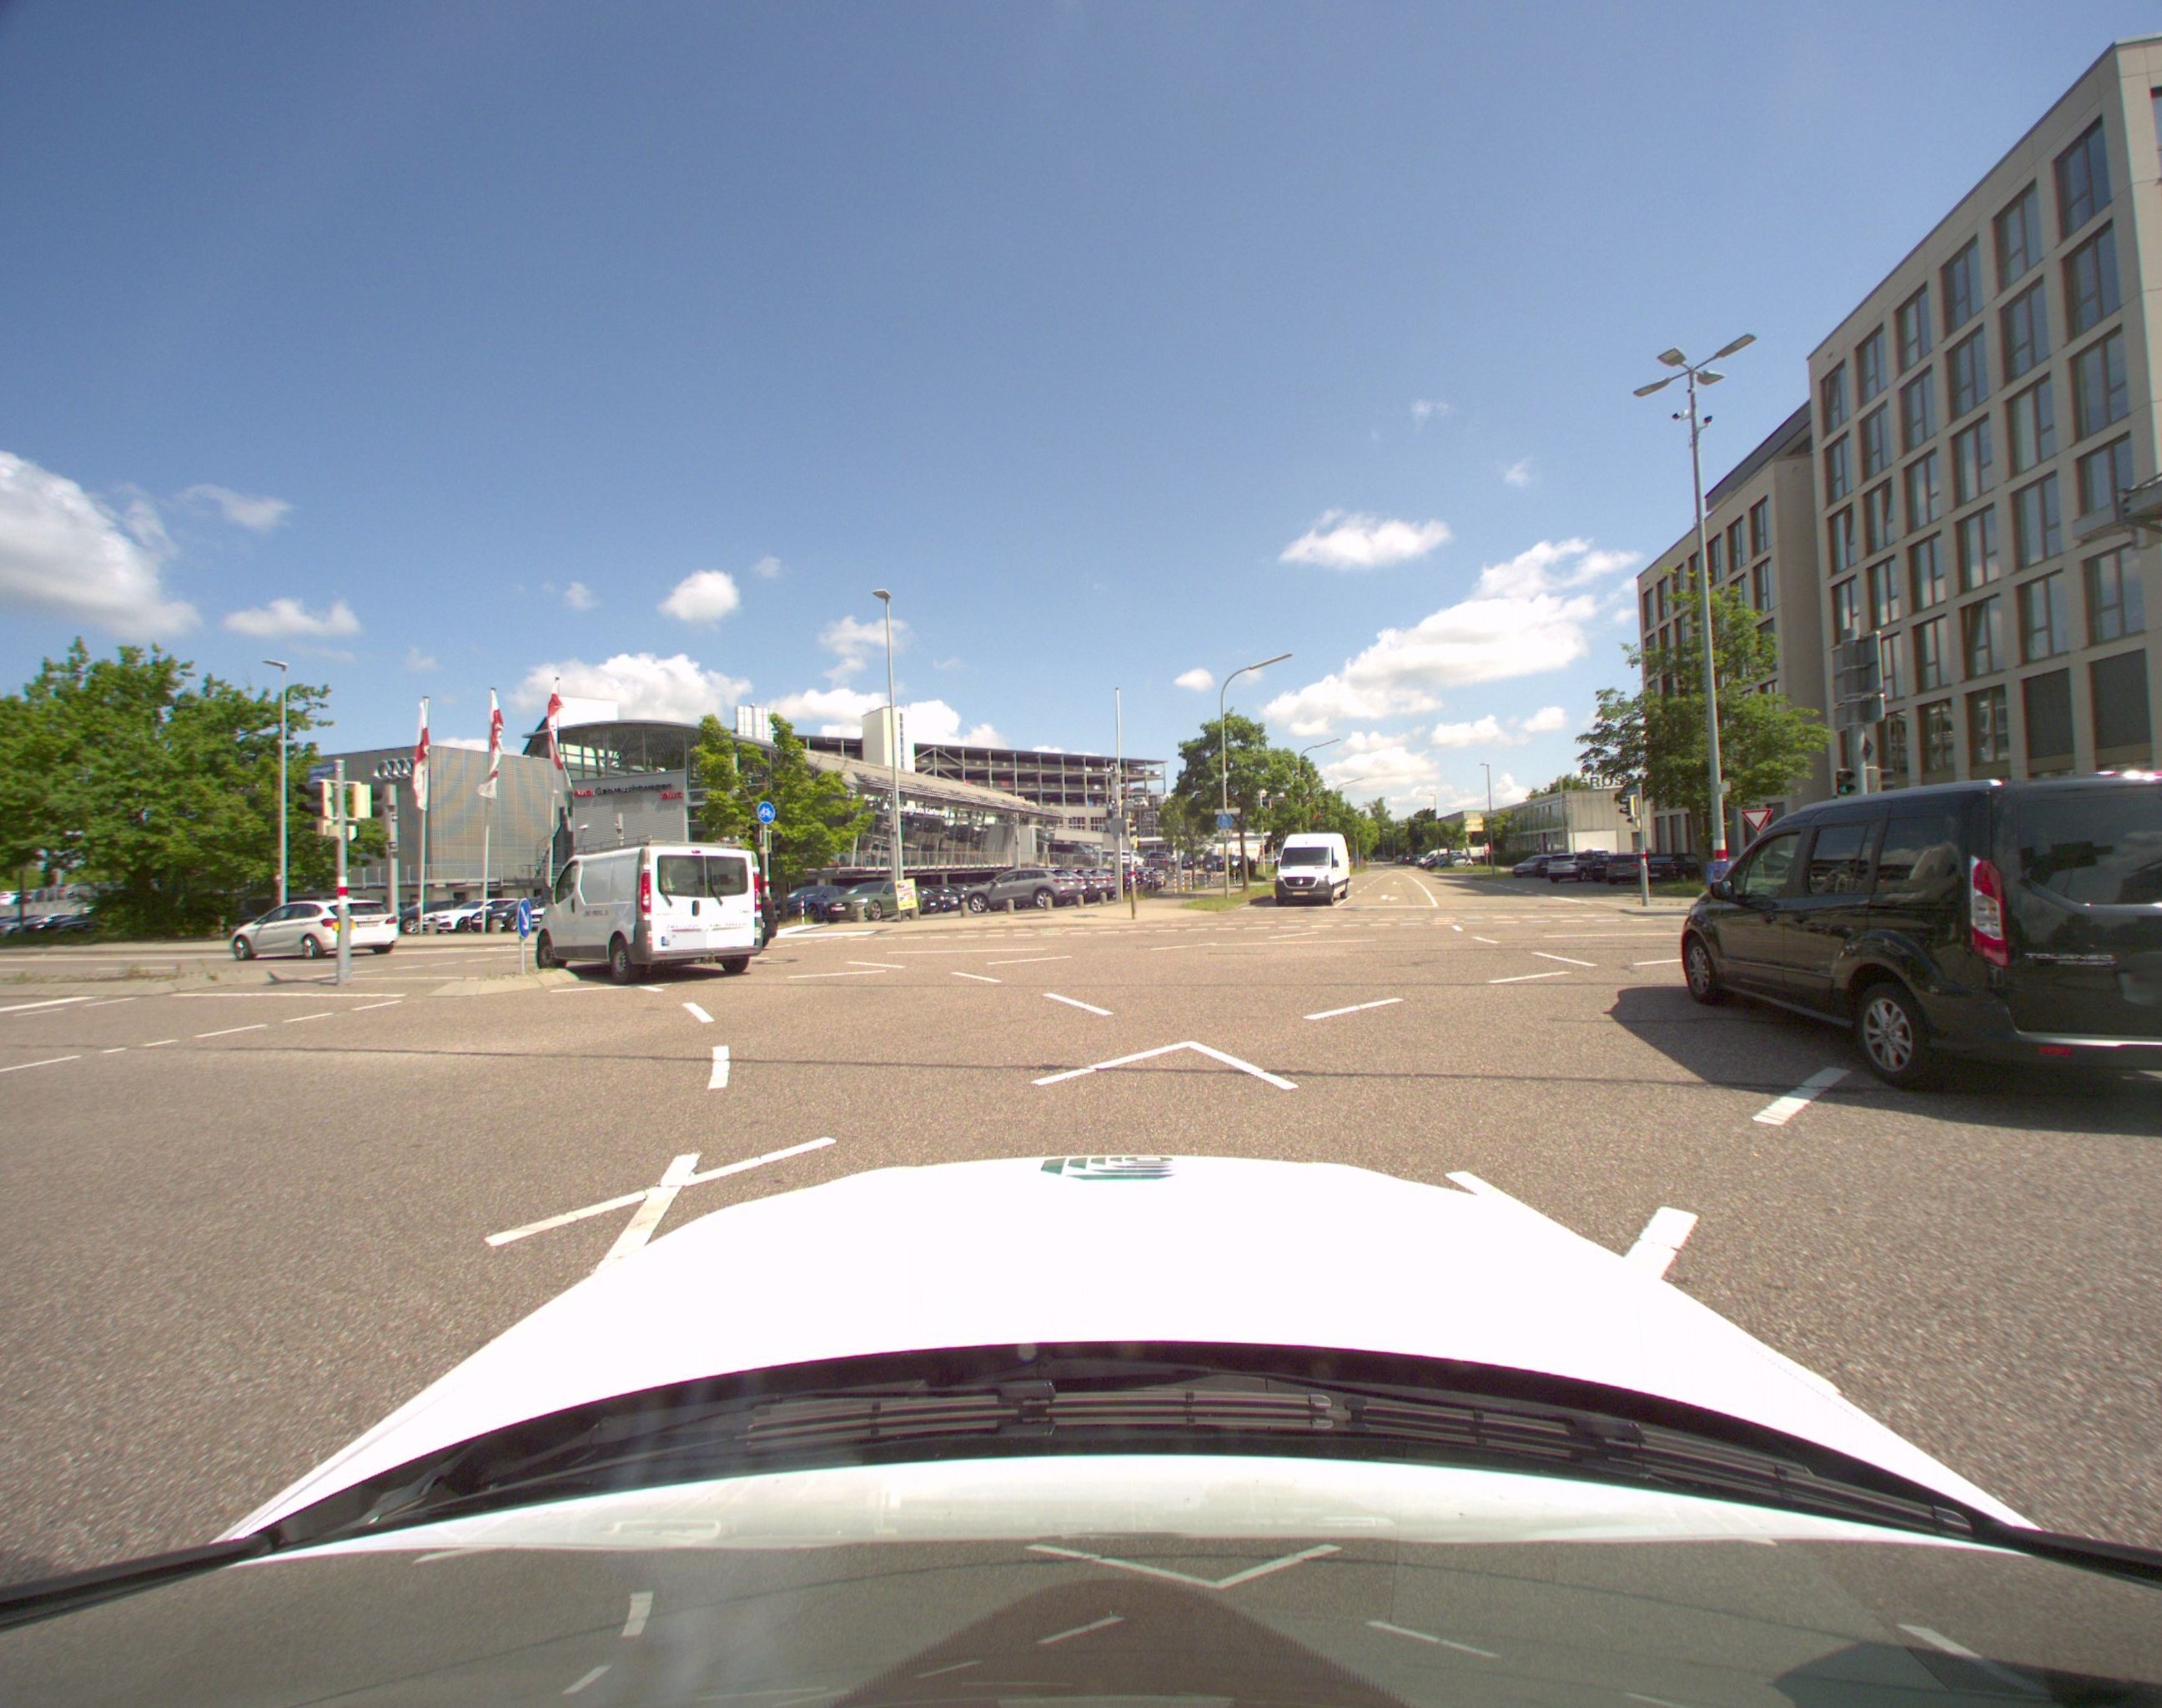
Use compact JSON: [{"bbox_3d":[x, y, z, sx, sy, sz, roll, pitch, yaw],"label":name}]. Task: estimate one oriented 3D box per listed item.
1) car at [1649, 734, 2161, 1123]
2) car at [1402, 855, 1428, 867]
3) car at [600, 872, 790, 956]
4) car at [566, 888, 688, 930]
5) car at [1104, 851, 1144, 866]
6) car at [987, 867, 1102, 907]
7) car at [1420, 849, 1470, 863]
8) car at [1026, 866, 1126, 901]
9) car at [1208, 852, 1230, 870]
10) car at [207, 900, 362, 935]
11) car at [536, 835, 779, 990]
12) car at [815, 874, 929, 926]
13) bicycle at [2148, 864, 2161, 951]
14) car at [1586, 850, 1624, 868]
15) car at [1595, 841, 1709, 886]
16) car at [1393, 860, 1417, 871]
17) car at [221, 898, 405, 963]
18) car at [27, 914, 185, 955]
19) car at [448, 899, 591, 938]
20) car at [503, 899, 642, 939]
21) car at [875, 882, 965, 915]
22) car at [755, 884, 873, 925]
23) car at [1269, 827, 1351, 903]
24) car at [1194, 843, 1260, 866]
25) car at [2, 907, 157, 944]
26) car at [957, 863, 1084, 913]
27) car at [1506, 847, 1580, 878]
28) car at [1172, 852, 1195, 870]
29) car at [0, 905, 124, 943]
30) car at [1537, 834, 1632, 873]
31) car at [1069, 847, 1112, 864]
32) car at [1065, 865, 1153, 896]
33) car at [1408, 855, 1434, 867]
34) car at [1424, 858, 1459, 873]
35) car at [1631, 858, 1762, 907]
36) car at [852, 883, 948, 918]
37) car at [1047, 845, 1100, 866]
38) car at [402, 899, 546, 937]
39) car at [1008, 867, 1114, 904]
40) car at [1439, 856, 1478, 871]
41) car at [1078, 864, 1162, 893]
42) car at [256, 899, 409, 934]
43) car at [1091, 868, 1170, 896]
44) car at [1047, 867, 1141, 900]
[{"bbox_3d":[5.942,0.375,5.890,1.809,1.905,4.017,-2,-1,17],"label":"car"},{"bbox_3d":[59.442,1.211,144.874,3.960,2.014,2.007,-1,-1,12],"label":"car"},{"bbox_3d":[-8.497,1.260,17.865,3.949,1.629,1.790,-2,-1,29],"label":"car"},{"bbox_3d":[-17.515,2.131,31.671,1.776,1.464,4.016,-3,-4,16],"label":"car"},{"bbox_3d":[4.455,0.474,84.677,3.964,1.552,1.769,-1,-1,8],"label":"car"},{"bbox_3d":[-1.540,1.401,35.009,4.539,1.678,1.916,-1,-1,17],"label":"car"},{"bbox_3d":[52.231,0.316,116.904,6.289,2.014,2.585,-1,-1,18],"label":"car"},{"bbox_3d":[-0.234,1.446,40.347,4.539,1.678,1.916,-1,-1,17],"label":"car"},{"bbox_3d":[12.510,0.656,73.809,1.549,1.552,3.617,-1,-1,16],"label":"car"},{"bbox_3d":[-35.930,2.834,36.927,1.886,1.405,4.608,-1,-2,16],"label":"car"},{"bbox_3d":[-6.926,0.833,13.094,4.506,2.060,1.991,-2,-1,42],"label":"car"},{"bbox_3d":[-7.354,1.580,29.199,1.886,1.678,4.609,-1,-1,16],"label":"car"},{"bbox_3d":[12.526,0.606,8.594,0.641,1.012,1.989,-1,-1,24],"label":"bicycle"},{"bbox_3d":[50.677,0.549,78.829,1.978,1.684,4.016,-1,-1,16],"label":"car"},{"bbox_3d":[26.969,0.473,38.593,3.960,2.014,2.007,-1,-1,12],"label":"car"},{"bbox_3d":[63.736,2.313,160.229,3.960,2.014,2.007,-1,-1,12],"label":"car"},{"bbox_3d":[-20.941,2.031,22.252,3.958,1.618,1.784,-1,-1,15],"label":"car"},{"bbox_3d":[-48.359,3.944,40.547,1.886,1.678,4.609,-1,-1,16],"label":"car"},{"bbox_3d":[-22.615,2.575,33.073,1.886,1.297,4.609,-1,-1,16],"label":"car"},{"bbox_3d":[-20.085,2.541,32.446,1.886,1.297,4.609,-1,-1,16],"label":"car"},{"bbox_3d":[-8.990,2.455,45.546,4.505,1.740,2.007,-1,-1,14],"label":"car"},{"bbox_3d":[-9.749,1.811,30.176,1.886,1.297,4.609,-1,-1,16],"label":"car"},{"bbox_3d":[8.924,0.440,31.246,2.114,2.607,6.900,-1,-1,23],"label":"car"},{"bbox_3d":[14.507,0.061,81.018,6.339,2.102,1.772,-1,-1,15],"label":"car"},{"bbox_3d":[-51.413,3.647,41.948,1.886,1.499,4.609,-3,-1,16],"label":"car"},{"bbox_3d":[-2.403,1.360,32.474,4.539,1.678,1.916,-4,-2,17],"label":"car"},{"bbox_3d":[31.603,0.606,55.786,3.960,2.014,2.007,-1,-1,12],"label":"car"},{"bbox_3d":[9.520,0.667,75.387,1.549,1.552,3.617,-1,-1,16],"label":"car"},{"bbox_3d":[-54.049,3.640,42.714,1.886,1.678,4.609,-1,-1,16],"label":"car"},{"bbox_3d":[27.420,0.002,44.495,3.960,2.014,2.007,-1,-1,12],"label":"car"},{"bbox_3d":[0.922,0.155,78.279,3.964,1.552,1.769,-1,-1,8],"label":"car"},{"bbox_3d":[1.595,1.462,45.500,4.539,1.678,1.916,-1,-1,17],"label":"car"},{"bbox_3d":[58.837,1.145,141.020,3.960,2.014,2.007,-1,-1,12],"label":"car"},{"bbox_3d":[48.562,1.593,109.640,3.960,2.014,2.007,-1,-1,12],"label":"car"},{"bbox_3d":[26.212,1.209,34.820,3.960,2.014,2.007,-1,-1,12],"label":"car"},{"bbox_3d":[-9.587,2.424,43.160,4.505,1.740,2.007,-1,-1,14],"label":"car"},{"bbox_3d":[-0.684,0.178,73.367,4.409,1.801,1.772,-1,-1,15],"label":"car"},{"bbox_3d":[-25.216,2.618,34.072,1.886,1.297,4.609,-1,-1,16],"label":"car"},{"bbox_3d":[-0.910,1.451,37.927,4.539,1.678,1.916,-1,-1,17],"label":"car"},{"bbox_3d":[43.386,1.093,93.697,3.953,1.750,2.010,-1,-1,20],"label":"car"},{"bbox_3d":[2.307,1.429,48.007,4.539,1.678,1.916,-1,-1,17],"label":"car"},{"bbox_3d":[-33.066,2.746,36.191,1.886,1.405,4.608,-1,-4,16],"label":"car"},{"bbox_3d":[3.109,1.758,50.808,4.539,1.678,1.916,-1,-1,17],"label":"car"},{"bbox_3d":[0.697,1.532,42.903,4.539,1.678,1.916,-1,-1,17],"label":"car"}]
